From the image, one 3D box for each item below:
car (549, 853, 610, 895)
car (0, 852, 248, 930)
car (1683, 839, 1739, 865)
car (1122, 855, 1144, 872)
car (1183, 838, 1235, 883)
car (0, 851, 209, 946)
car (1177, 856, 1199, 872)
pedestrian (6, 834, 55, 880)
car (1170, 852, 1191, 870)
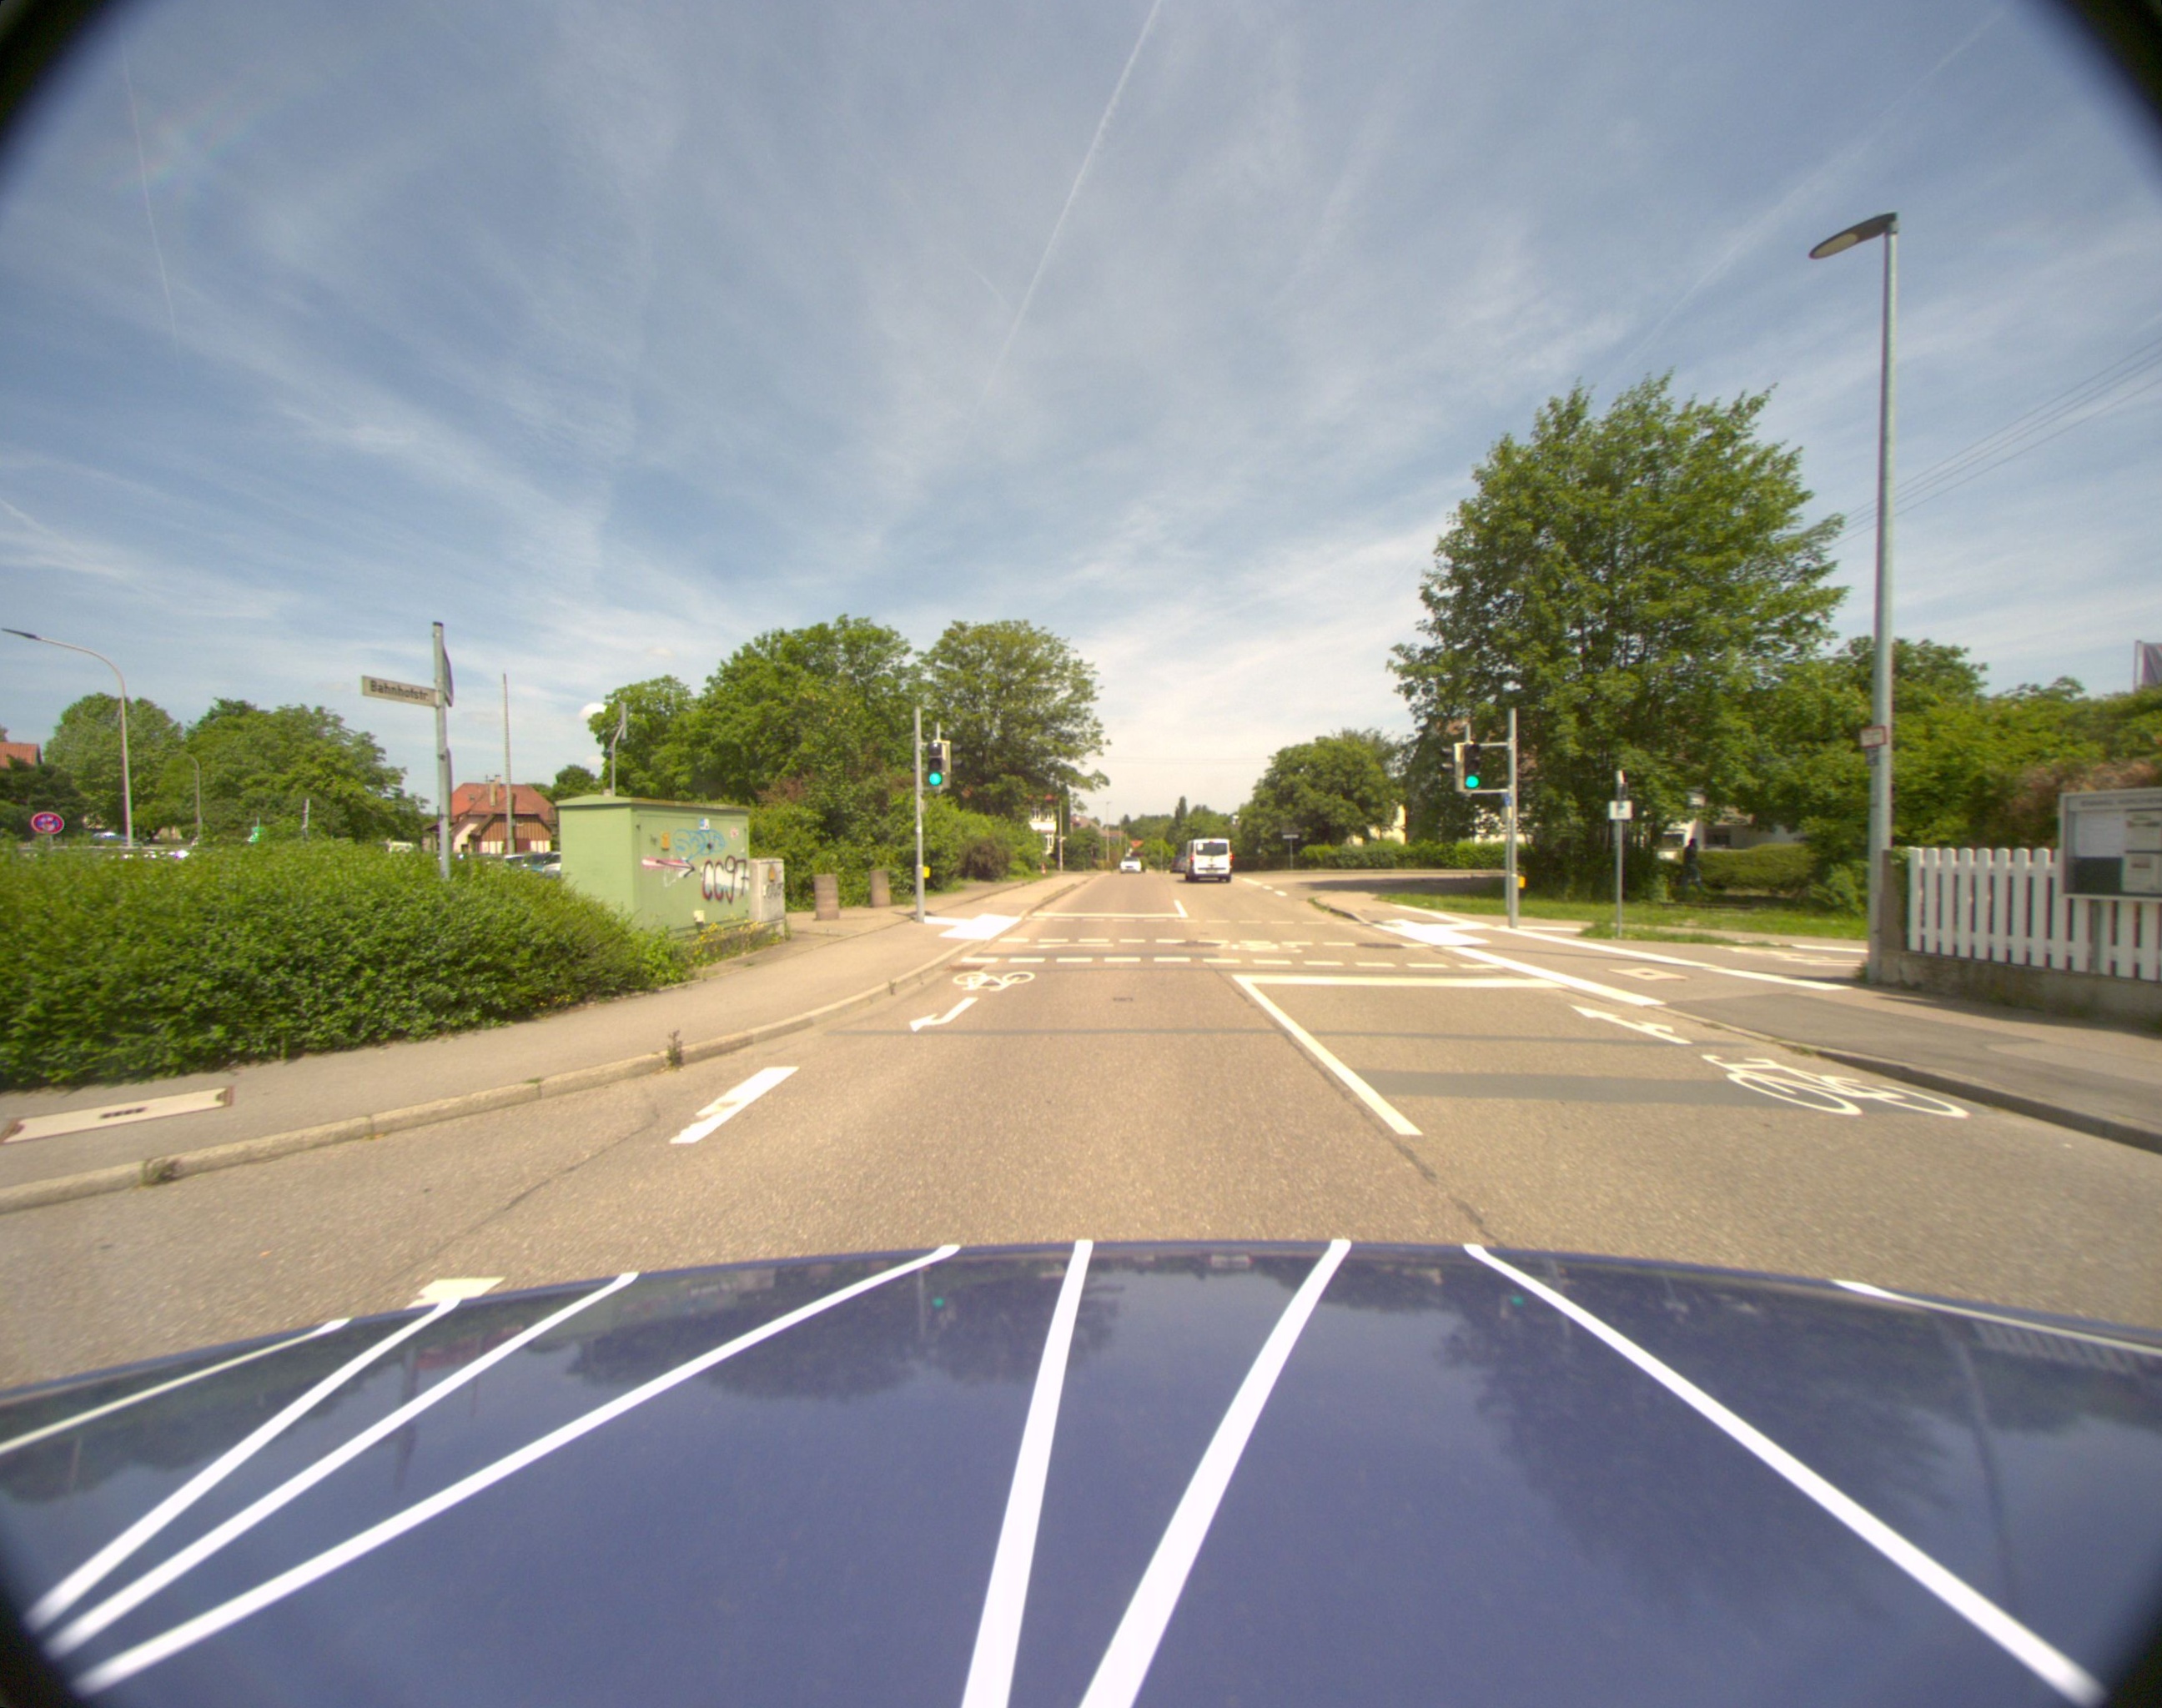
[{"bbox_3d":[-20.621,0.776,31.170,1.610,1.608,3.726,-1,1,-40],"label":"car"},{"bbox_3d":[-19.942,0.704,15.814,3.441,1.476,1.413,0,1,-45],"label":"car"},{"bbox_3d":[34.771,-0.110,42.034,1.394,1.354,3.613,-1,1,23],"label":"car"},{"bbox_3d":[4.607,0.837,67.574,1.826,1.543,4.001,0,0,3],"label":"car"},{"bbox_3d":[5.963,0.239,35.956,1.883,1.954,4.902,0,1,3],"label":"car"},{"bbox_3d":[-16.666,0.662,11.544,4.293,1.390,1.396,-1,1,-39],"label":"car"},{"bbox_3d":[9.725,0.887,69.110,1.784,1.386,4.411,1,0,5],"label":"car"},{"bbox_3d":[-46.690,0.114,33.788,1.006,2.002,1.107,1,1,43],"label":"pedestrian"},{"bbox_3d":[11.243,0.840,86.140,1.901,1.908,4.872,1,-1,3],"label":"car"}]
